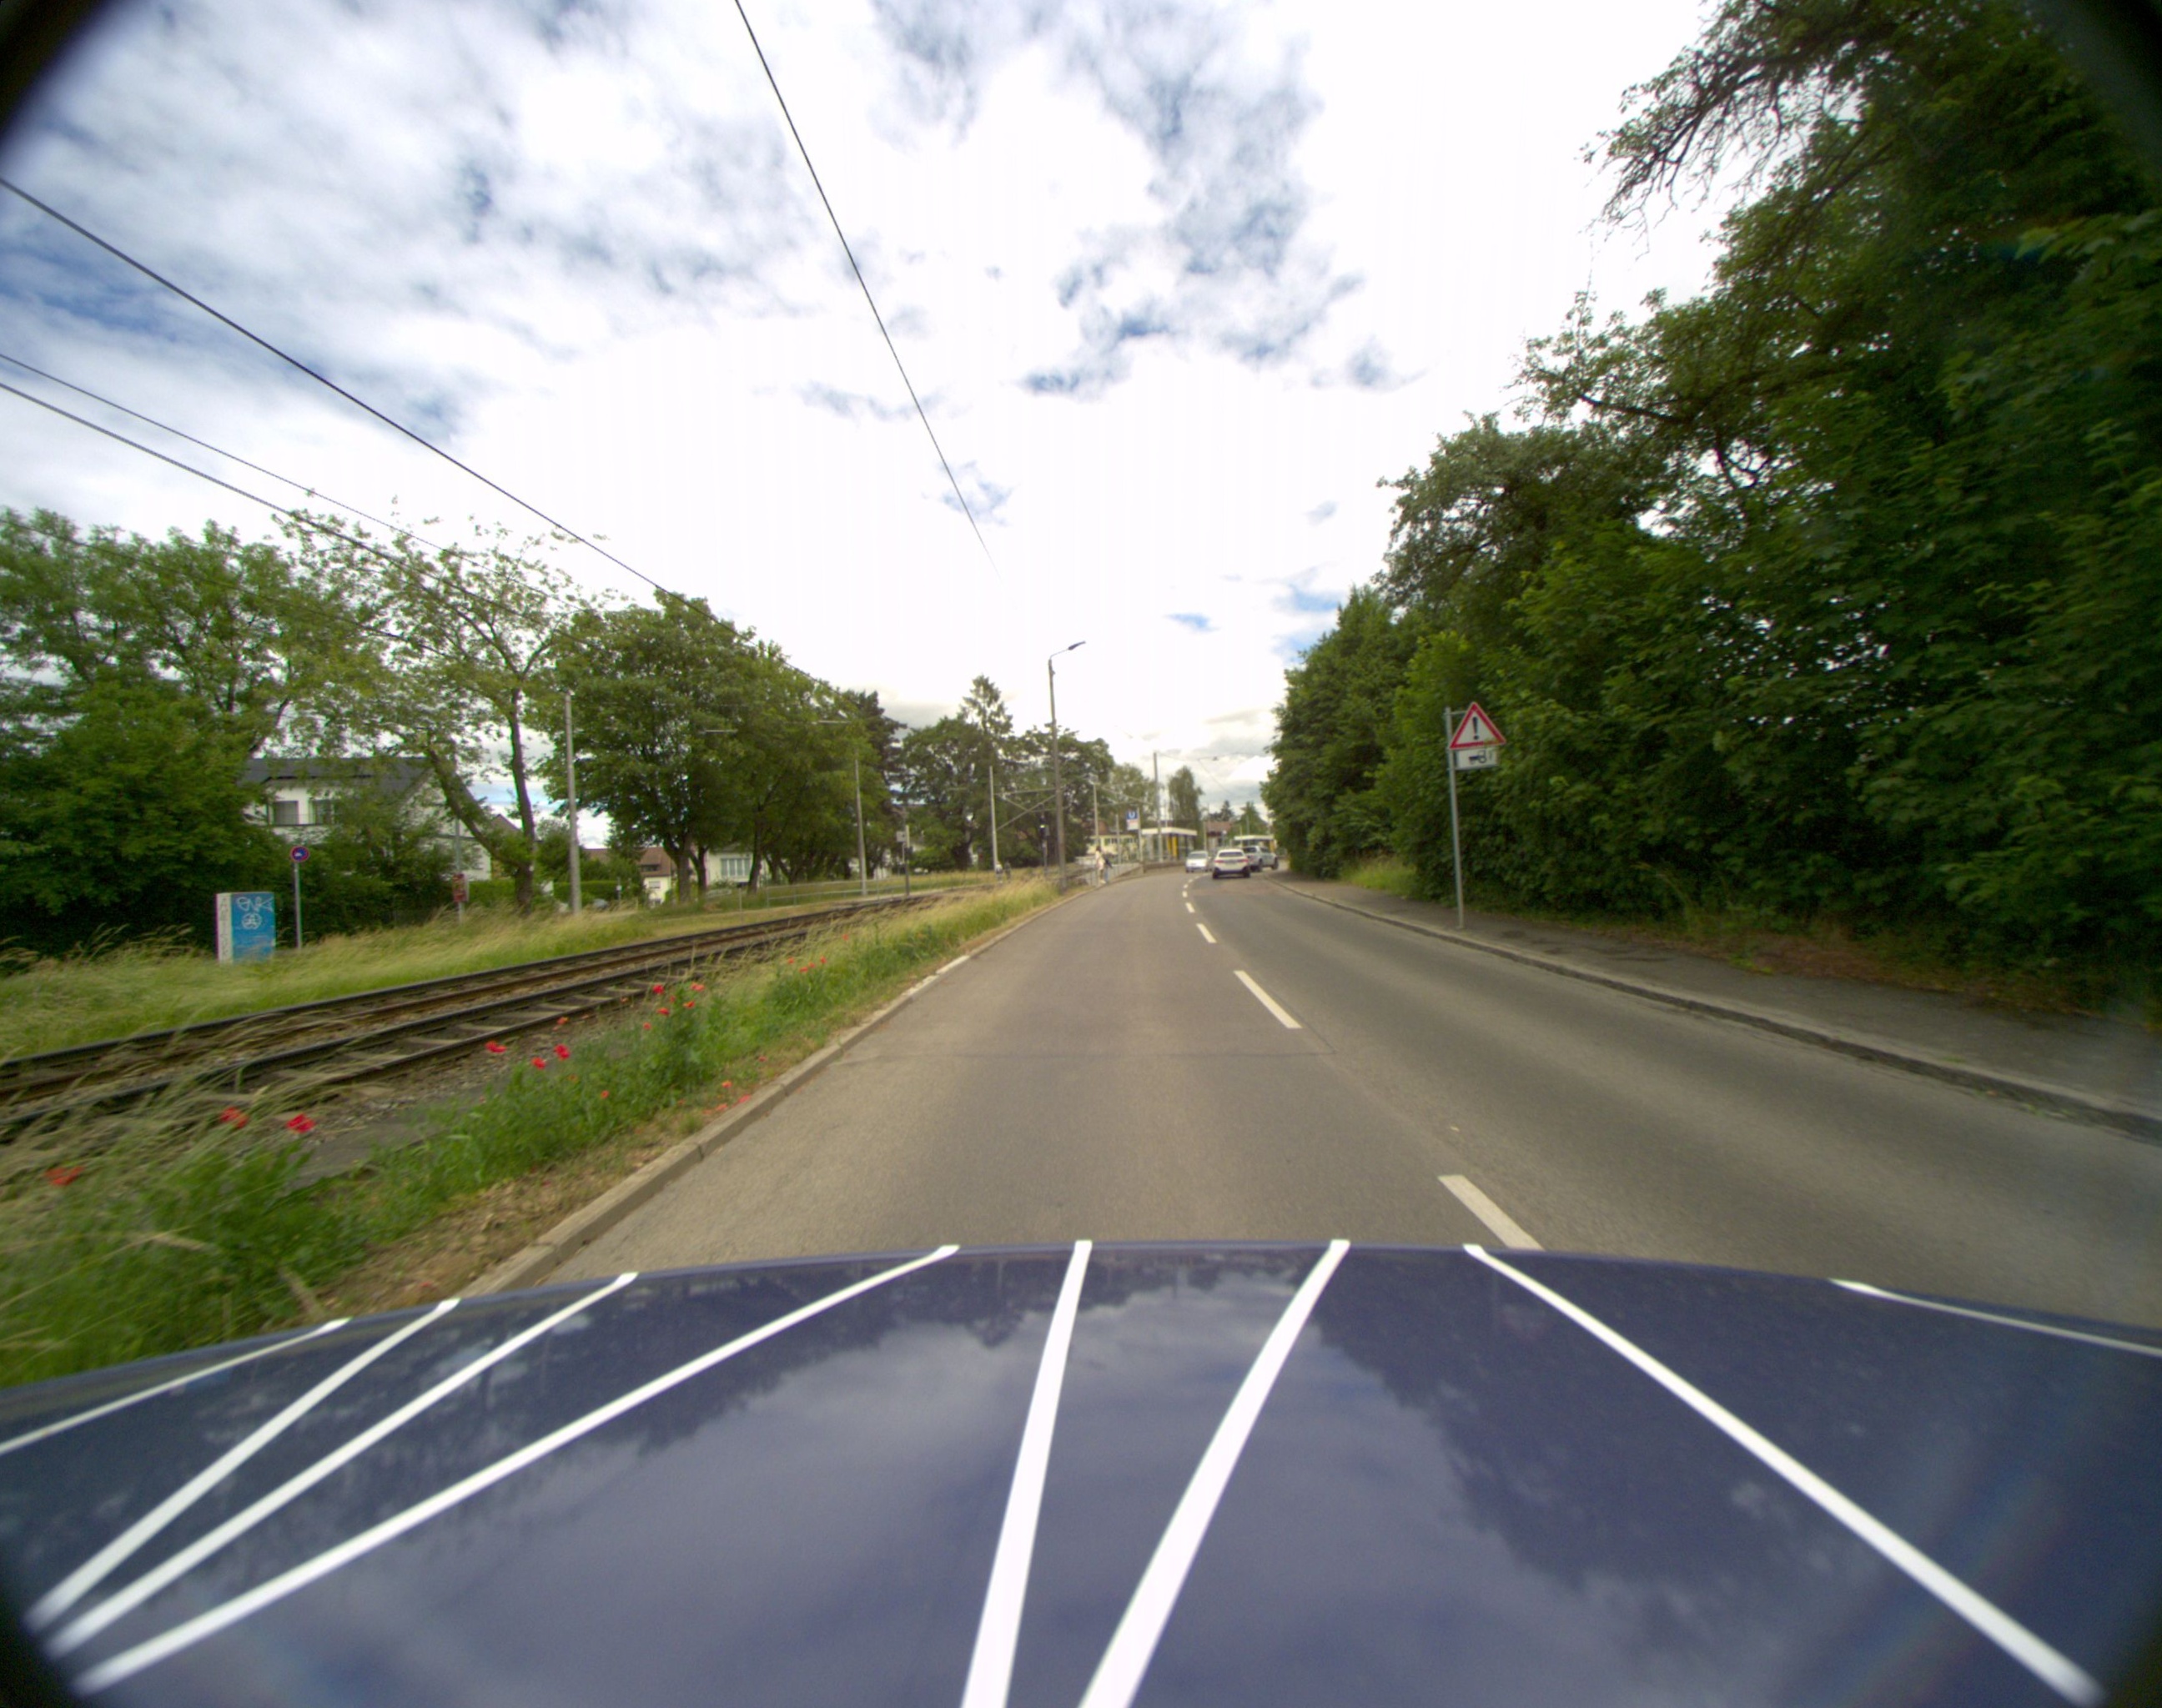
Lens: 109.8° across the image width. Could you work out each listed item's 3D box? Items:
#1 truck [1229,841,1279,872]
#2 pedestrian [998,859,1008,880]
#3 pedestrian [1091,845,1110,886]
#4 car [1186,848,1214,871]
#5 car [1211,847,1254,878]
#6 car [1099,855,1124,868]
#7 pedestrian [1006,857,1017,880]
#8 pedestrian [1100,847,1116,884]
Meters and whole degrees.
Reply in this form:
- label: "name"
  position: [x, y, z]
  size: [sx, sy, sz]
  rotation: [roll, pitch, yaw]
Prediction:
- label: "truck"
  position: [12.050, 0.146, 52.769]
  size: [1.849, 1.954, 4.967]
  rotation: [-3, 0, 31]
- label: "pedestrian"
  position: [-5.792, 1.150, 56.447]
  size: [0.493, 1.552, 0.693]
  rotation: [-4, 0, 14]
- label: "pedestrian"
  position: [0.887, 0.512, 34.786]
  size: [0.661, 1.830, 0.596]
  rotation: [-4, 3, -12]
- label: "car"
  position: [9.261, 0.422, 58.825]
  size: [1.732, 1.639, 4.230]
  rotation: [-4, -1, 14]
- label: "car"
  position: [7.911, 0.417, 40.022]
  size: [1.933, 1.513, 4.661]
  rotation: [-1, 1, 8]
- label: "car"
  position: [5.284, 1.294, 130.786]
  size: [1.995, 1.851, 4.244]
  rotation: [-4, -1, 39]
- label: "pedestrian"
  position: [-5.132, 1.071, 56.321]
  size: [0.493, 1.613, 0.791]
  rotation: [-4, 0, 14]
- label: "pedestrian"
  position: [1.272, 0.542, 35.986]
  size: [0.475, 1.719, 0.799]
  rotation: [-4, 3, -13]
